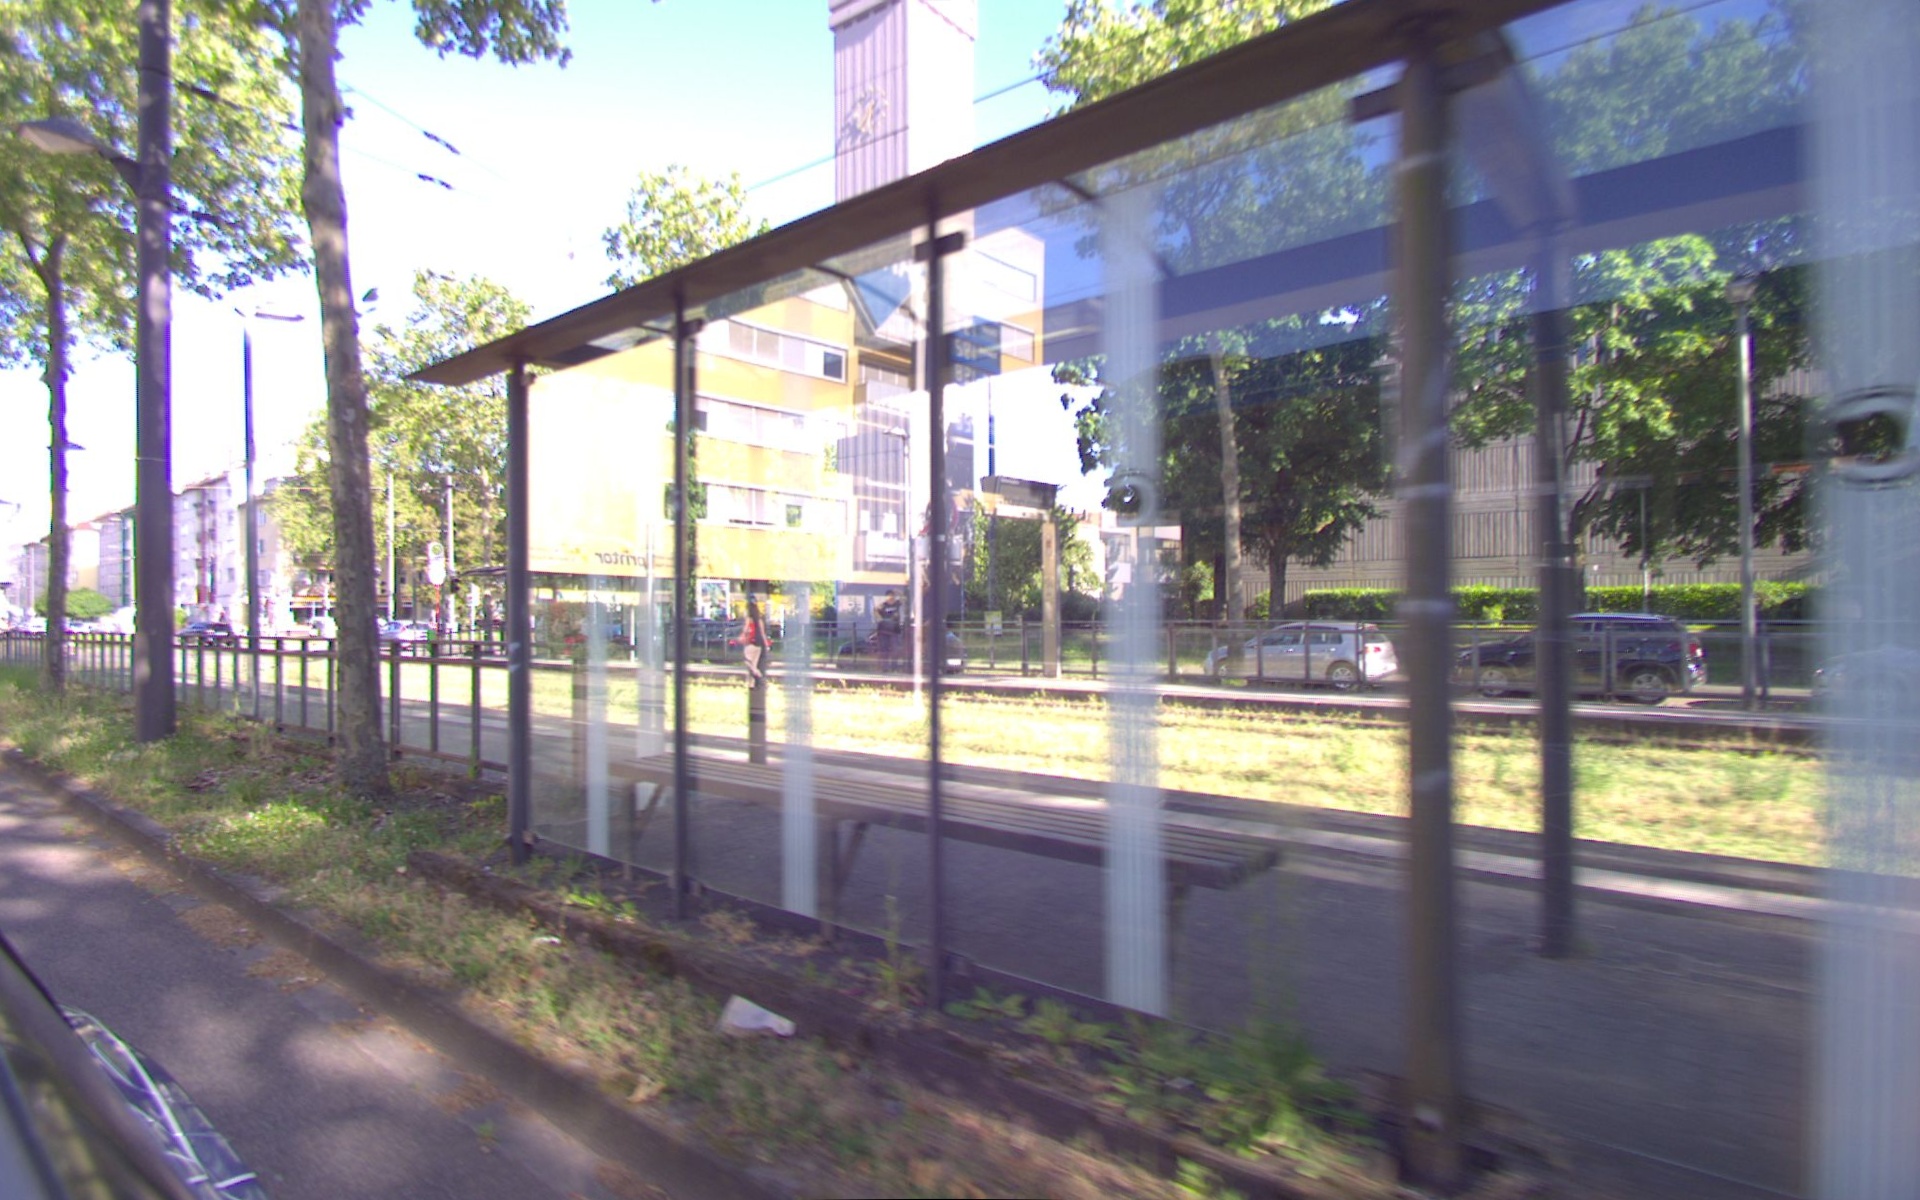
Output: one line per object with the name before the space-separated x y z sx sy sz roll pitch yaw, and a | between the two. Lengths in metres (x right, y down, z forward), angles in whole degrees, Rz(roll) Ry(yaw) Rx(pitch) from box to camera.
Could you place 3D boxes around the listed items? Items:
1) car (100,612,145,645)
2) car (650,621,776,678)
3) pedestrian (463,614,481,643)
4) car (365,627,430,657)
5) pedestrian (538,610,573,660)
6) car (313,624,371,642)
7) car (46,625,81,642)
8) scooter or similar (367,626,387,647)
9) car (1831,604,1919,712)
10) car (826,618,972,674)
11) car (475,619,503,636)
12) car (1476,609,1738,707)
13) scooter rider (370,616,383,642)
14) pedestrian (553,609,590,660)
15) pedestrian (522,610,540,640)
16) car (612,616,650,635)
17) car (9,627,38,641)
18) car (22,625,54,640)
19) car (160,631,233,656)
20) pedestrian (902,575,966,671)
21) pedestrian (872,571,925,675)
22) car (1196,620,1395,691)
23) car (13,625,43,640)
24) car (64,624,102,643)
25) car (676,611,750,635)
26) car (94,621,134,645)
car | -73.967 2.479 89.328 5.226 2.846 2.202 -1 -1 41
car | -6.893 1.338 28.115 3.532 1.438 1.590 -1 -1 39
pedestrian | -29.271 1.708 60.705 0.878 1.708 0.589 -1 -1 35
car | -26.614 1.949 47.851 3.409 1.335 1.313 -1 -1 35
pedestrian | -11.154 0.947 27.912 0.722 1.352 0.775 0 -1 -36
car | -50.931 2.704 83.493 3.931 1.448 1.723 0 0 -27
car | -95.761 3.513 108.064 5.442 1.720 2.117 -1 -1 41
scooter or similar | -38.681 2.408 67.131 1.537 1.319 0.591 -1 -1 36
car | 15.890 0.863 15.407 3.927 1.648 1.578 -2 -1 40
car | -1.692 1.184 27.154 3.998 1.364 1.535 -1 -1 41
car | -39.647 2.293 85.167 1.616 1.318 4.012 0 0 -32
car | 12.056 1.019 19.002 3.928 1.645 1.577 -2 -1 41
scooter rider | -38.746 1.919 67.188 0.572 1.708 0.589 -1 -1 35
pedestrian | -10.513 0.933 27.387 0.734 1.352 0.686 -1 -1 42
pedestrian | -24.405 1.424 57.574 0.746 1.694 0.589 -1 -1 35
car | -29.456 2.257 90.492 1.968 1.564 3.942 0 -1 -38
car | -122.051 4.373 131.871 5.399 1.720 2.117 -1 -1 41
car | -107.515 3.771 118.011 5.442 1.720 2.117 -1 -1 41
car | -46.173 2.612 61.206 4.510 1.453 1.936 -1 -1 30
pedestrian | -0.469 0.407 18.418 0.754 1.702 0.874 -1 0 41
pedestrian | -1.144 0.422 18.803 0.636 1.881 0.712 -1 -1 41
car | 7.482 1.195 22.781 3.928 1.455 1.577 -2 -1 41
car | -116.900 4.081 126.937 5.399 1.720 2.117 -1 -1 41
car | -88.076 3.345 101.612 5.154 1.720 2.117 -1 -1 41
car | -16.333 1.494 67.149 1.998 1.497 4.468 -1 -1 40
car | -79.017 3.055 94.509 5.154 2.049 2.117 -1 -1 41
